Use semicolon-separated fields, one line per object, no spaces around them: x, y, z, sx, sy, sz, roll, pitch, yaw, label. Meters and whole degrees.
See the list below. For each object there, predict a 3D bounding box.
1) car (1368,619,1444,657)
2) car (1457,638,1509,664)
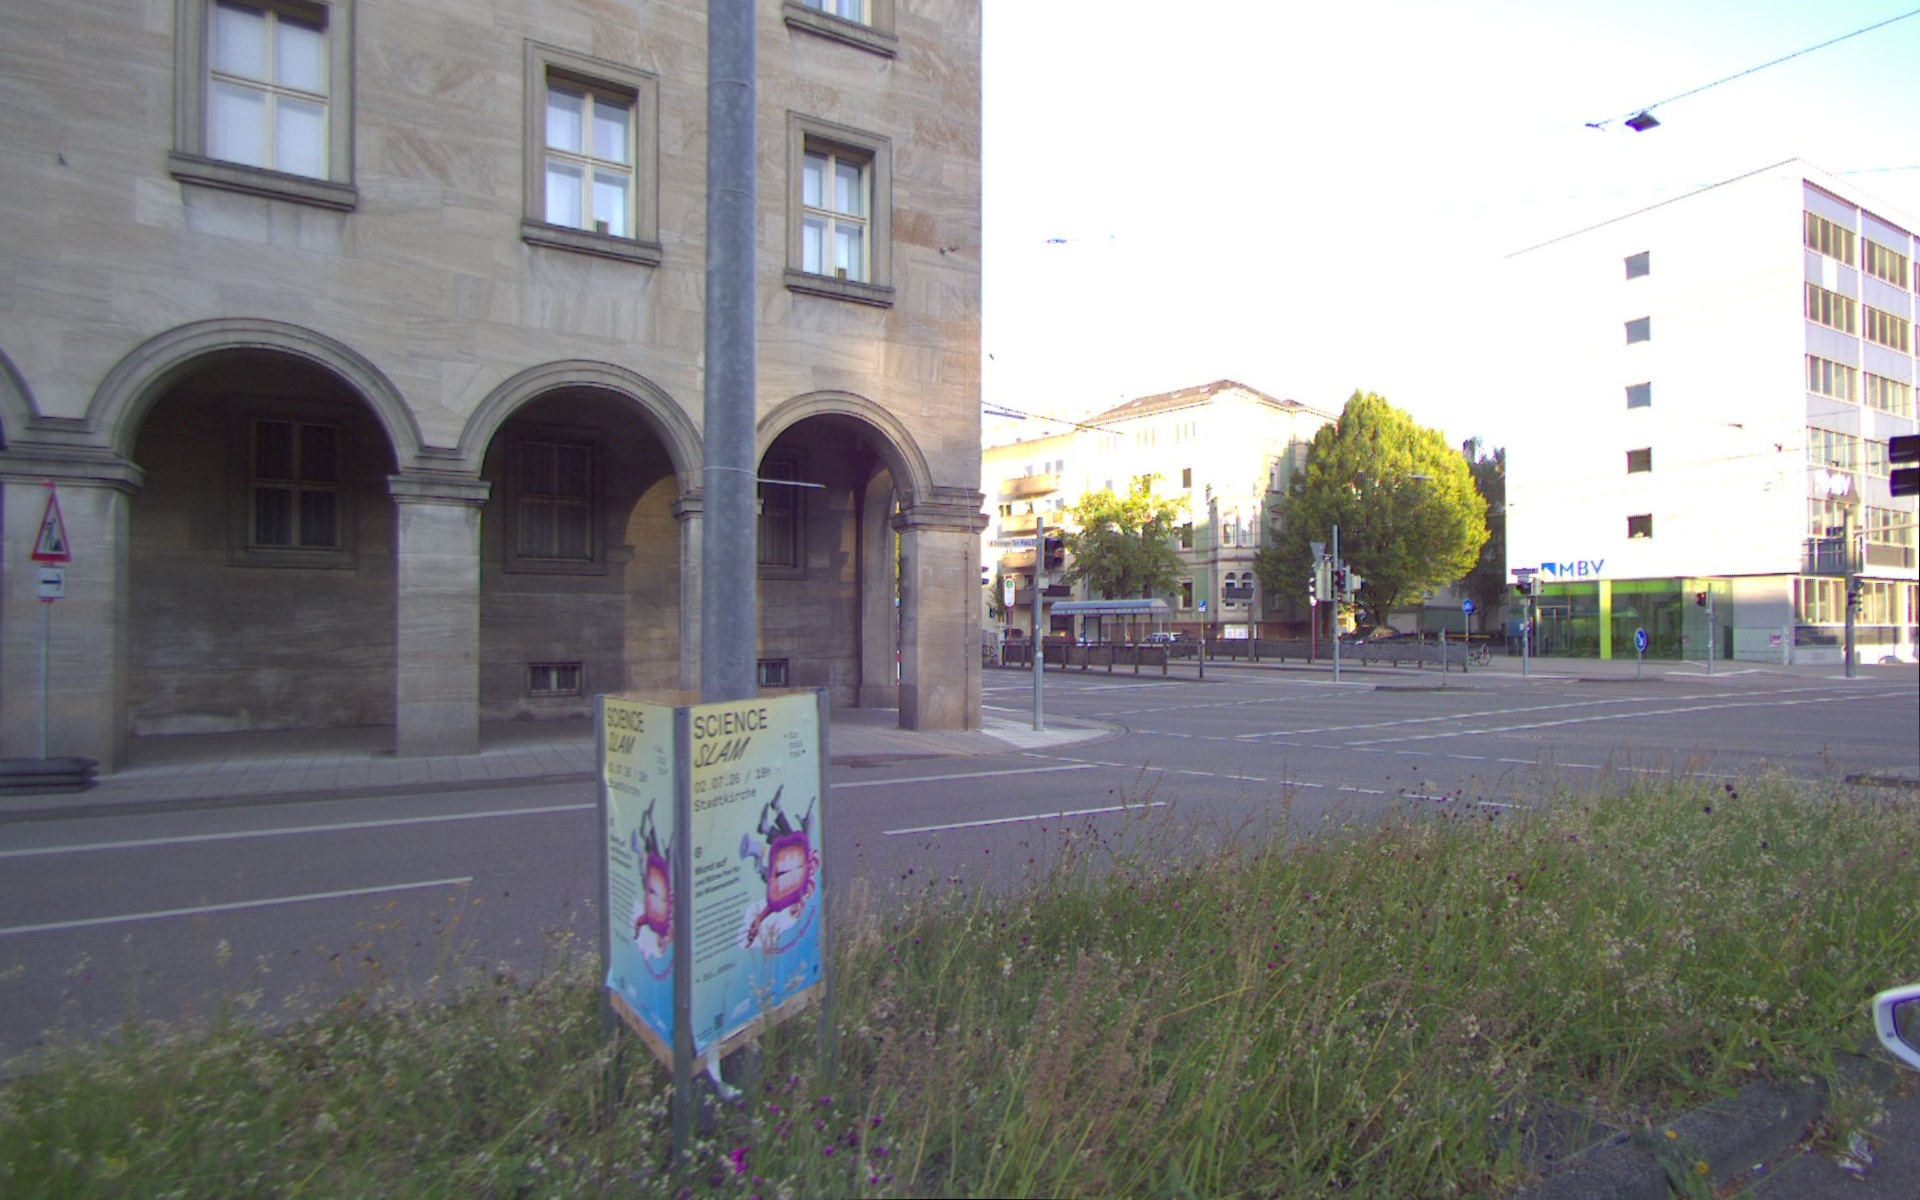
25.030;2.106;56.317;3.954;2.040;1.984;1;-2;-31;car
23.050;2.229;44.289;2.492;1.088;0.849;1;-2;-31;car
